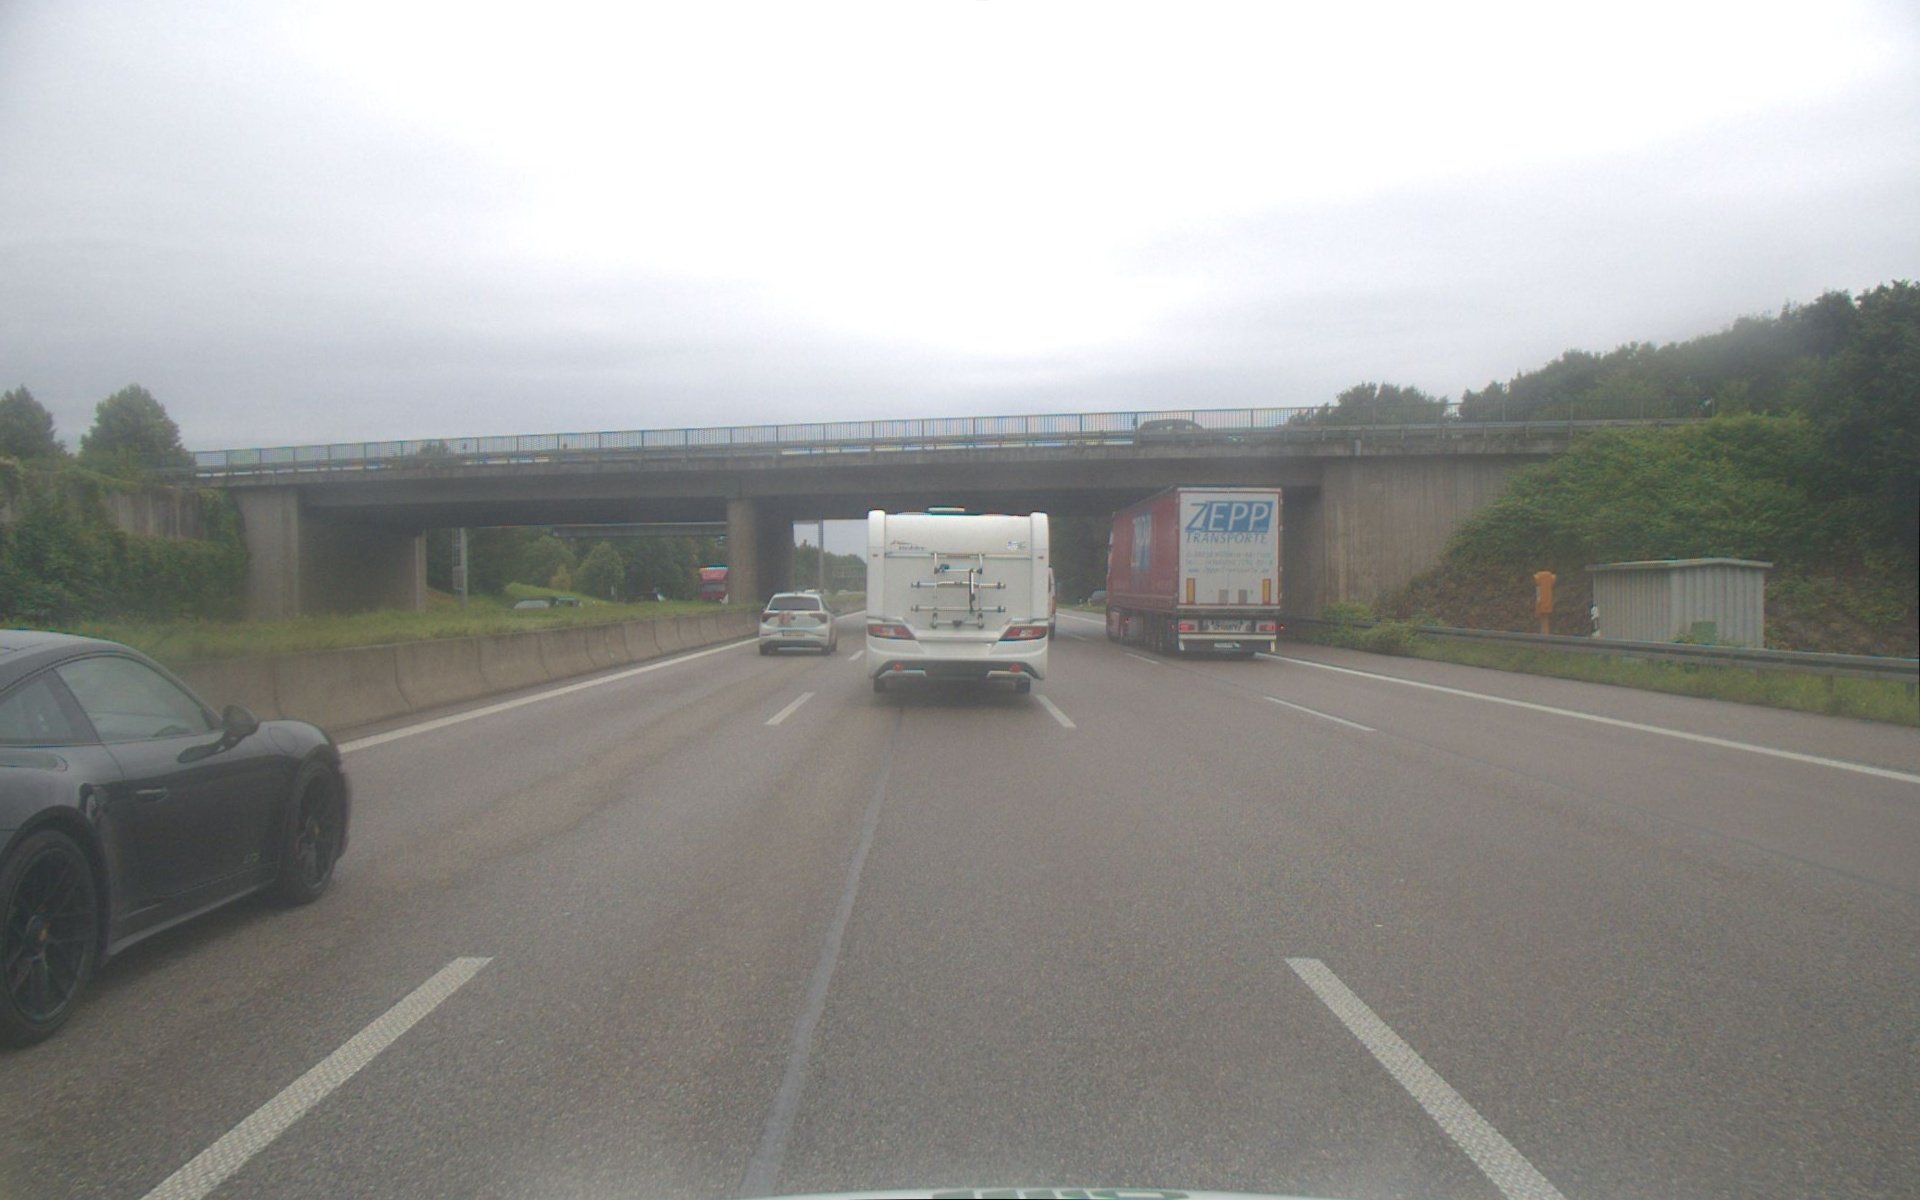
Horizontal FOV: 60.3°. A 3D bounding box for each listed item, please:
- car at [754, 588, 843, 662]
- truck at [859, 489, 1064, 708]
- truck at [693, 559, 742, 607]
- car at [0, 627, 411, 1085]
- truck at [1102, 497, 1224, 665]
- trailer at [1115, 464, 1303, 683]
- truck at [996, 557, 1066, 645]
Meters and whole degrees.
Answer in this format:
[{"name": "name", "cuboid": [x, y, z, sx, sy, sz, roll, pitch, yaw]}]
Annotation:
[{"name": "car", "cuboid": [-3.848, 0.563, 40.083, 1.717, 1.646, 4.663, -1, 1, -1]}, {"name": "truck", "cuboid": [-0.020, -0.018, 23.908, 2.607, 2.790, 5.076, 1, 0, -1]}, {"name": "truck", "cuboid": [-20.590, -1.456, 140.851, 2.638, 3.918, 10.110, -1, 1, 0]}, {"name": "car", "cuboid": [-3.744, 0.808, 6.502, 1.618, 1.294, 4.923, 1, 0, -1]}, {"name": "truck", "cuboid": [6.244, -0.553, 51.732, 2.986, 4.924, 5.849, 1, 0, 0]}, {"name": "trailer", "cuboid": [6.322, -0.603, 44.132, 3.037, 5.008, 11.788, 1, 0, -1]}, {"name": "truck", "cuboid": [2.362, 0.042, 56.343, 2.011, 2.818, 5.547, 1, 0, -1]}]
